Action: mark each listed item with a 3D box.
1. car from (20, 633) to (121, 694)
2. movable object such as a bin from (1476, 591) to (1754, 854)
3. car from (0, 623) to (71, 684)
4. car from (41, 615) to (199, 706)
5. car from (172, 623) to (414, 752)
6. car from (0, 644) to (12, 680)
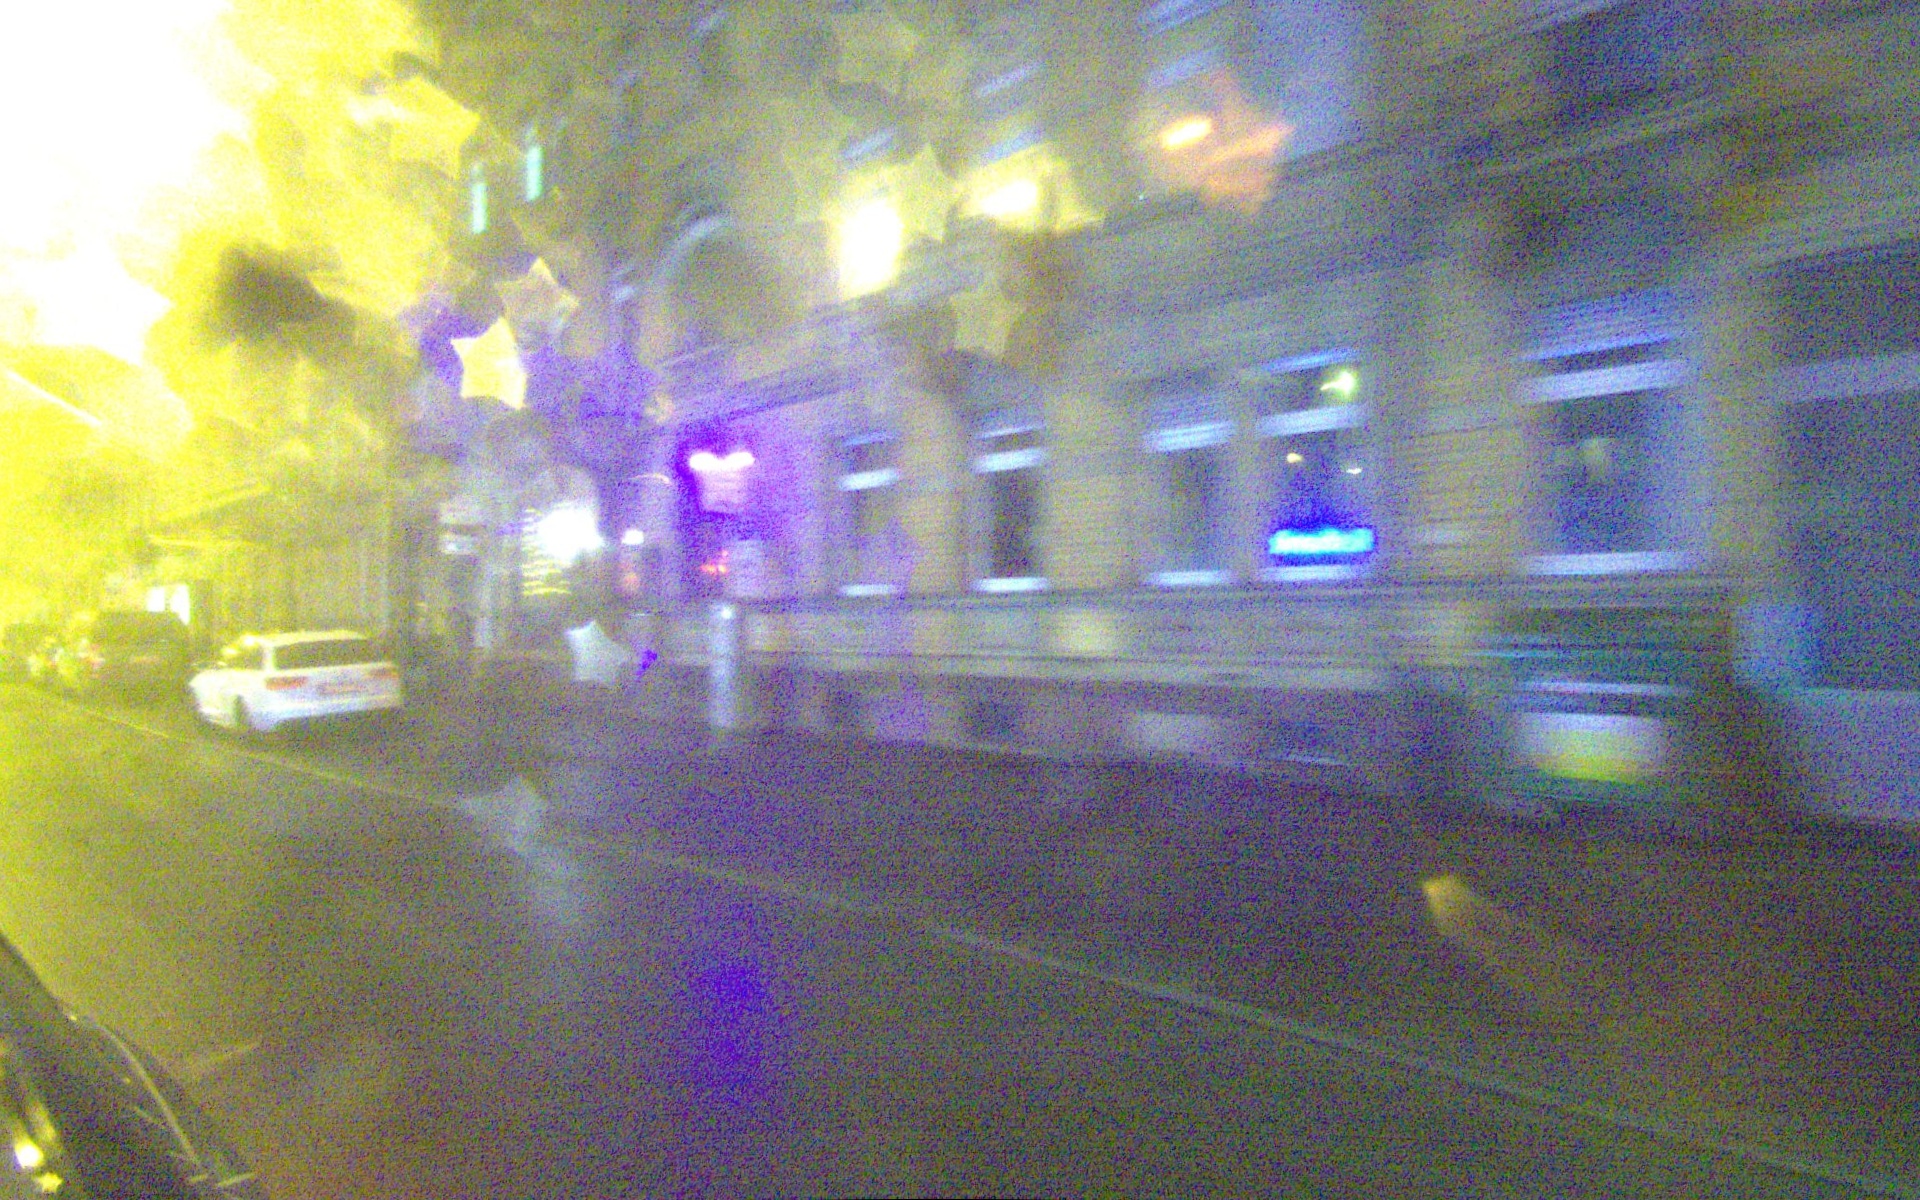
[{"bbox_3d":[-23.631,1.642,26.852,3.718,1.471,1.552,-2,-2,42],"label":"car"},{"bbox_3d":[4.214,0.717,6.517,1.377,1.465,1.090,-2,-3,39],"label":"movable object such as a bin"},{"bbox_3d":[-30.450,1.709,32.798,4.827,1.843,1.882,-2,-2,42],"label":"car"},{"bbox_3d":[-19.103,1.307,22.930,5.204,1.843,1.975,-2,-2,42],"label":"car"},{"bbox_3d":[-9.815,1.159,14.721,4.770,1.494,1.749,-2,1,42],"label":"car"},{"bbox_3d":[-39.476,2.477,40.601,4.553,1.402,1.708,-2,-2,42],"label":"car"}]
